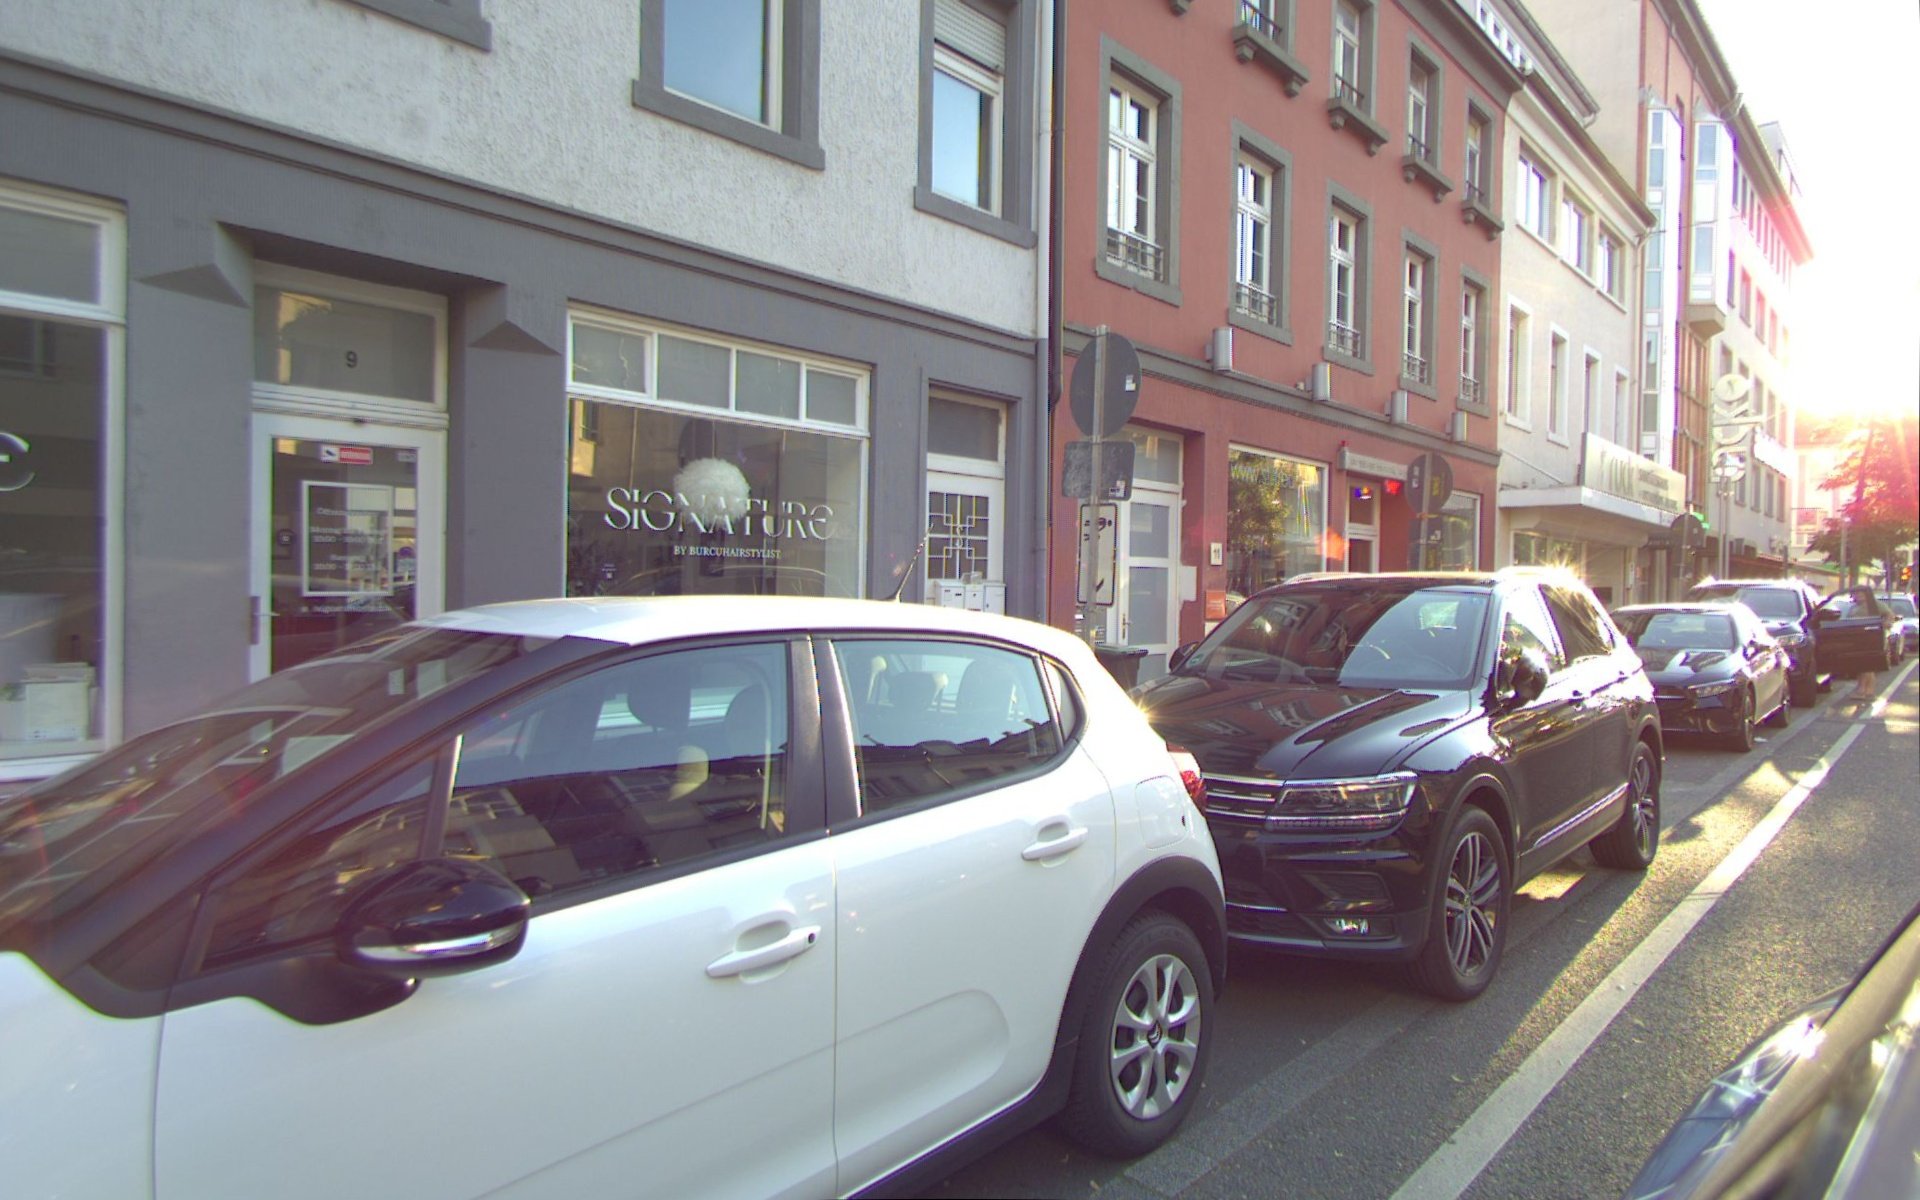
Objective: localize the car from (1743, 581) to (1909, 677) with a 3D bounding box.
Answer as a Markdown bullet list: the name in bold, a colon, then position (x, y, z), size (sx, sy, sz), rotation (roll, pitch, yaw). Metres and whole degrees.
- **car**: position (17.062, 0.469, 19.867), size (4.550, 1.676, 1.996), rotation (0, 1, -43)

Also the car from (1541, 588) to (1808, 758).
- **car**: position (8.092, 0.653, 11.290), size (4.339, 1.507, 1.685), rotation (-1, 0, -45)

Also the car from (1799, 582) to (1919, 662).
- **car**: position (21.662, 0.448, 24.221), size (4.407, 1.675, 1.995), rotation (-1, 2, -45)

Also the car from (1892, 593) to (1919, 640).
- **car**: position (33.374, 0.548, 34.743), size (3.722, 1.521, 1.692), rotation (0, 2, -42)

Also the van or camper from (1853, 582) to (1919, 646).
- **van or camper**: position (28.526, 0.363, 30.884), size (1.786, 1.796, 4.491), rotation (2, 2, 40)

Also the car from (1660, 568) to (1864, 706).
- **car**: position (12.646, 0.449, 15.800), size (1.994, 1.799, 5.234), rotation (1, 1, 44)

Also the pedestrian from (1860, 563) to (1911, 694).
- **pedestrian**: position (13.557, 0.398, 14.839), size (0.483, 1.881, 0.532), rotation (1, 1, 38)

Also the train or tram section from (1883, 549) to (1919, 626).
- **train or tram section**: position (53.756, -0.657, 50.952), size (10.297, 3.858, 3.130), rotation (0, 0, 17)

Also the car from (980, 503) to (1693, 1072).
- **car**: position (2.269, 0.553, 5.259), size (4.387, 1.720, 1.795), rotation (-1, 0, -45)

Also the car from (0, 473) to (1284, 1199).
- **car**: position (-1.014, 0.649, 2.286), size (3.869, 1.593, 1.663), rotation (-1, 0, -43)
